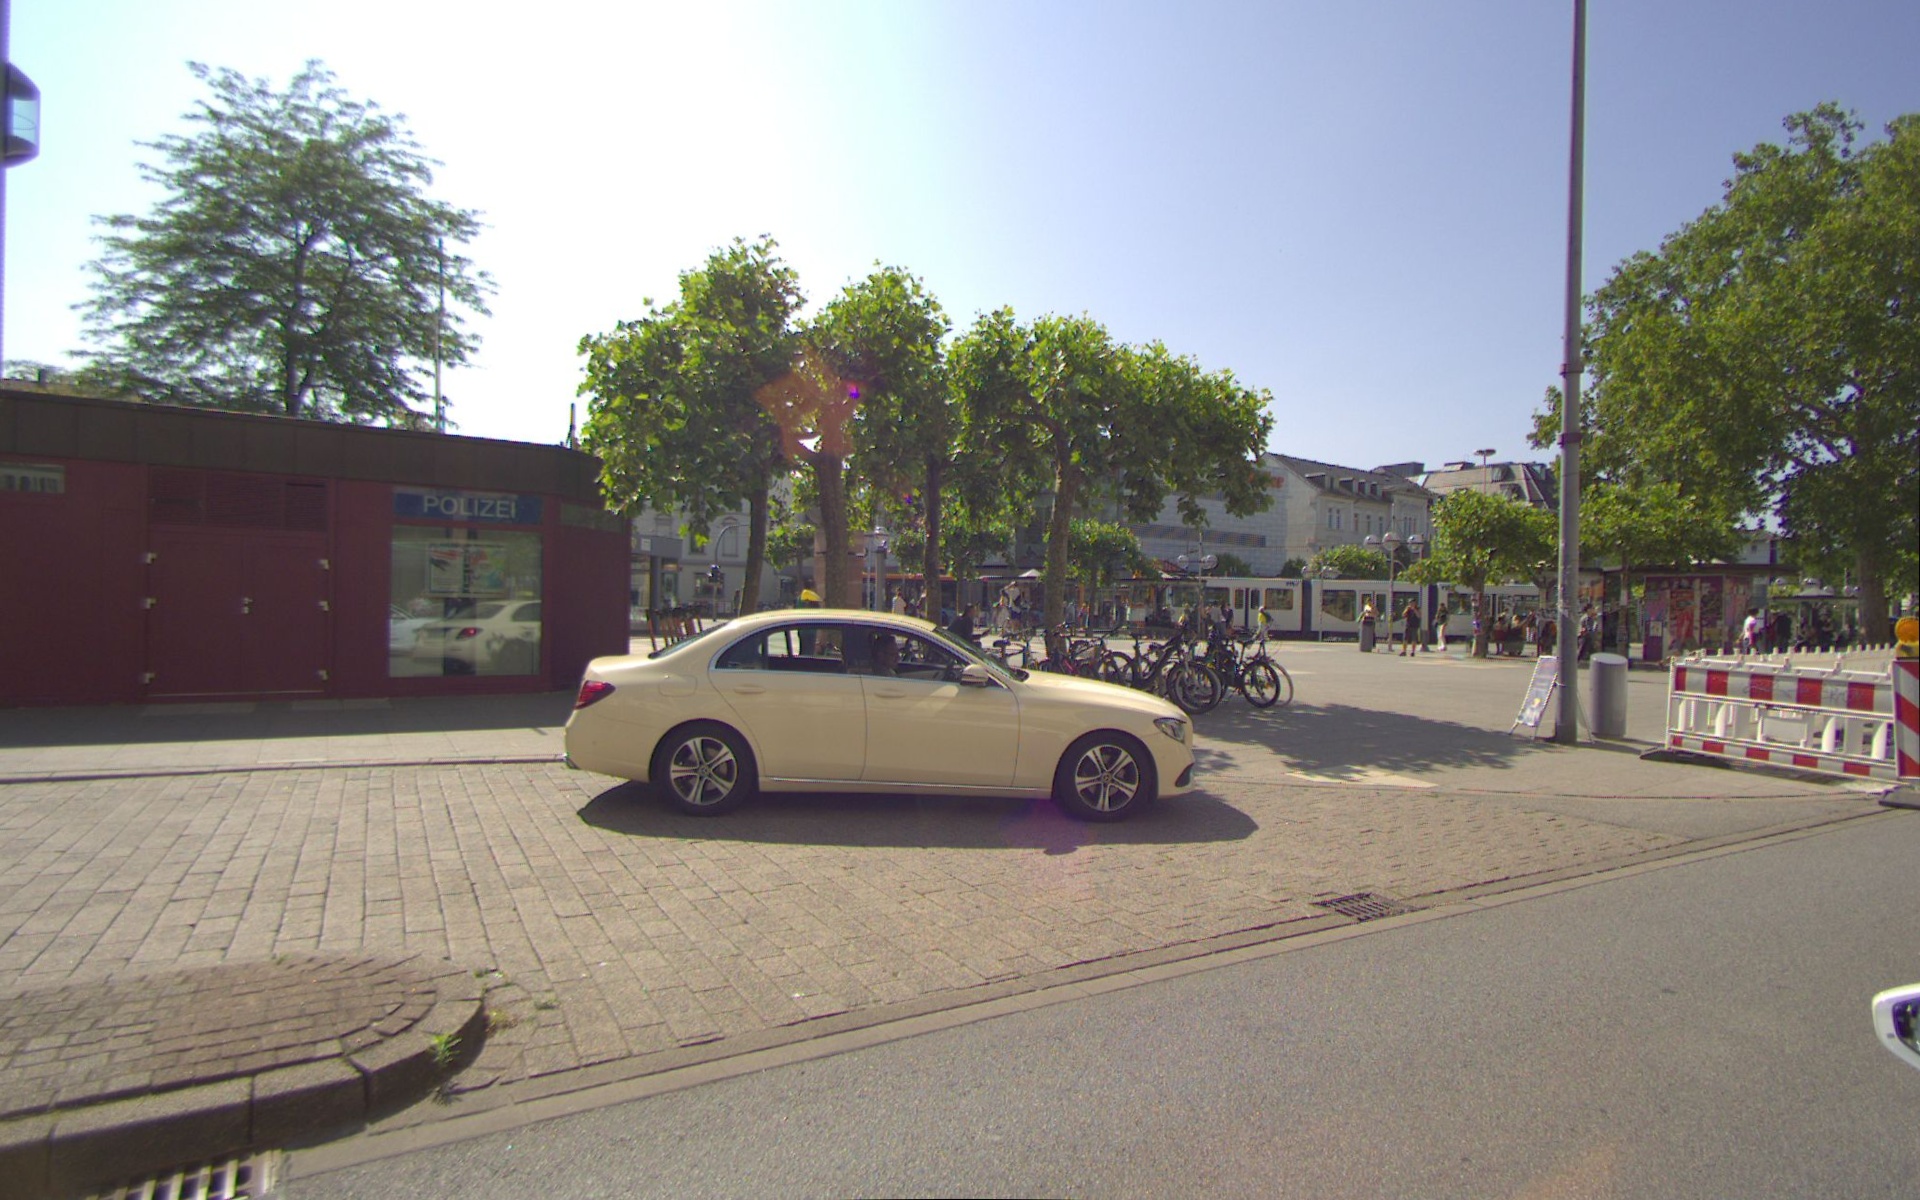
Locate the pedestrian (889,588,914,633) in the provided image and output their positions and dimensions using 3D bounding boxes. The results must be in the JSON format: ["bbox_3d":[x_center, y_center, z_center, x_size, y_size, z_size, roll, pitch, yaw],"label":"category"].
[{"bbox_3d":[-2.285,0.411,38.931,0.600,1.688,0.796,1,1,-35],"label":"pedestrian"}]

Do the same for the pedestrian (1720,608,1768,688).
[{"bbox_3d":[17.678,1.075,22.657,0.598,1.762,0.574,1,1,-24],"label":"pedestrian"}]

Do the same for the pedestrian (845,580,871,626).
[{"bbox_3d":[-3.708,0.115,36.490,0.600,1.643,0.796,1,1,-35],"label":"pedestrian"}]

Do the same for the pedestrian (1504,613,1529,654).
[{"bbox_3d":[17.703,1.063,31.938,0.602,1.279,0.610,1,0,38],"label":"pedestrian"}]

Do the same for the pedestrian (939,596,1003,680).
[{"bbox_3d":[0.188,0.646,17.228,0.884,1.400,0.670,1,1,-21],"label":"pedestrian"}]

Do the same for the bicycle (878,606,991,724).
[{"bbox_3d":[-0.351,0.751,12.401,0.556,1.326,1.771,1,1,-32],"label":"bicycle"}]

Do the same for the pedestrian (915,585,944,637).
[{"bbox_3d":[-1.063,0.378,34.899,0.600,1.773,0.796,1,1,-35],"label":"pedestrian"}]

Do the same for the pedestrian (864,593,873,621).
[{"bbox_3d":[-5.730,0.439,62.995,0.435,1.695,0.450,1,0,5],"label":"pedestrian"}]

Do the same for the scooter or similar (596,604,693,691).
[{"bbox_3d":[-4.520,0.685,14.431,1.280,1.230,0.233,1,1,-11],"label":"scooter or similar"}]

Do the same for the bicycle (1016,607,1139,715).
[{"bbox_3d":[1.545,0.772,13.507,0.656,1.326,1.771,1,1,-32],"label":"bicycle"}]

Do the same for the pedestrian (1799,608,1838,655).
[{"bbox_3d":[28.087,1.023,32.887,0.717,1.498,0.633,1,0,-9],"label":"pedestrian"}]

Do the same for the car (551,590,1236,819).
[{"bbox_3d":[-0.470,0.736,7.981,4.767,1.562,1.896,1,1,-3],"label":"car"}]

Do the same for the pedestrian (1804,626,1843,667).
[{"bbox_3d":[28.751,1.536,33.447,0.717,1.310,0.633,1,0,-9],"label":"pedestrian"}]

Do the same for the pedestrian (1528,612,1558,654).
[{"bbox_3d":[18.152,1.008,31.269,0.599,1.279,0.613,1,0,6],"label":"pedestrian"}]

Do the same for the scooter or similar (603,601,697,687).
[{"bbox_3d":[-4.523,0.638,14.692,1.280,1.230,0.233,1,1,-11],"label":"scooter or similar"}]

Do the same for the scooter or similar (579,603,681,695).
[{"bbox_3d":[-4.488,0.671,13.700,1.280,1.230,0.233,1,1,-11],"label":"scooter or similar"}]

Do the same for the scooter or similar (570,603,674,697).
[{"bbox_3d":[-4.513,0.670,13.443,1.280,1.230,0.233,1,1,-11],"label":"scooter or similar"}]

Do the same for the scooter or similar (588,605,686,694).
[{"bbox_3d":[-4.543,0.702,14.177,1.280,1.230,0.233,1,1,-11],"label":"scooter or similar"}]

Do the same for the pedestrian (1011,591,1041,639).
[{"bbox_3d":[2.235,0.506,34.116,0.600,1.582,0.796,1,1,-35],"label":"pedestrian"}]

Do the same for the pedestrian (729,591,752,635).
[{"bbox_3d":[-8.423,0.507,38.469,0.566,1.660,0.603,3,1,41],"label":"pedestrian"}]

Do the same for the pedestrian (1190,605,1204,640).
[{"bbox_3d":[12.058,1.154,51.133,0.594,1.773,0.747,1,0,9],"label":"pedestrian"}]

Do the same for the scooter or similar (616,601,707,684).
[{"bbox_3d":[-4.506,0.643,15.201,1.280,1.230,0.264,1,1,-11],"label":"scooter or similar"}]

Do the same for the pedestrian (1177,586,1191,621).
[{"bbox_3d":[11.306,0.171,50.734,0.594,1.773,0.747,1,0,9],"label":"pedestrian"}]

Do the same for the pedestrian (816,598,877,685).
[{"bbox_3d":[-1.793,0.642,15.896,0.663,1.326,0.683,2,1,43],"label":"pedestrian"}]

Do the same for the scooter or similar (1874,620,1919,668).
[{"bbox_3d":[29.357,1.344,31.036,1.018,1.439,1.281,1,0,1],"label":"scooter or similar"}]

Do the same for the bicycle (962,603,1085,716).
[{"bbox_3d":[0.786,0.723,12.977,0.656,1.326,1.771,1,1,-32],"label":"bicycle"}]

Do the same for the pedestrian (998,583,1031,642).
[{"bbox_3d":[1.700,0.385,31.493,0.600,1.823,0.795,1,1,-36],"label":"pedestrian"}]

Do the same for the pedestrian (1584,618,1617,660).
[{"bbox_3d":[19.850,1.205,31.152,0.599,1.279,0.612,1,0,-4],"label":"pedestrian"}]

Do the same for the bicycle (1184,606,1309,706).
[{"bbox_3d":[4.355,0.817,15.381,0.733,1.366,1.771,1,2,-32],"label":"bicycle"}]

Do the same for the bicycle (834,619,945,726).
[{"bbox_3d":[-0.892,0.833,12.212,0.556,1.147,1.771,1,0,-32],"label":"bicycle"}]

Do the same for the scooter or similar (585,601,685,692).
[{"bbox_3d":[-4.497,0.647,13.938,1.280,1.230,0.233,1,1,-11],"label":"scooter or similar"}]

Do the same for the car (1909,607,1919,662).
[{"bbox_3d":[36.659,1.291,35.643,4.674,1.981,1.862,2,0,-9],"label":"car"}]

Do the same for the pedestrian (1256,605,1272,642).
[{"bbox_3d":[14.687,1.111,48.548,0.594,1.773,0.747,1,0,9],"label":"pedestrian"}]

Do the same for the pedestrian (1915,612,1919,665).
[{"bbox_3d":[29.068,1.158,29.889,0.653,1.586,0.633,1,0,-9],"label":"pedestrian"}]

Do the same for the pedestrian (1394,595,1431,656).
[{"bbox_3d":[13.627,0.767,30.263,0.788,1.773,0.606,2,1,2],"label":"pedestrian"}]

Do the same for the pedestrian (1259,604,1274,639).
[{"bbox_3d":[15.842,1.108,51.909,0.594,1.773,0.804,1,0,9],"label":"pedestrian"}]

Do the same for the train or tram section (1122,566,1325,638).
[{"bbox_3d":[14.690,0.086,56.732,10.779,3.726,2.623,1,0,5],"label":"train or tram section"}]

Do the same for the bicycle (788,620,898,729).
[{"bbox_3d":[-1.403,0.823,11.731,0.556,1.120,1.771,1,0,-32],"label":"bicycle"}]

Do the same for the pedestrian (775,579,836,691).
[{"bbox_3d":[-2.414,0.533,15.669,0.681,1.700,0.666,1,1,-38],"label":"pedestrian"}]

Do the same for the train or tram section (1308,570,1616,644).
[{"bbox_3d":[27.465,0.355,55.563,15.233,3.726,2.623,1,0,5],"label":"train or tram section"}]

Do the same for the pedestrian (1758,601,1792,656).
[{"bbox_3d":[27.712,0.979,34.152,0.604,1.833,0.634,1,-3,-10],"label":"pedestrian"}]

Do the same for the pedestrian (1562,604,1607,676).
[{"bbox_3d":[13.883,0.883,22.338,0.598,1.553,0.574,1,1,-24],"label":"pedestrian"}]

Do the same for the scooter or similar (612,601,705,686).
[{"bbox_3d":[-4.478,0.644,14.945,1.280,1.230,0.233,1,1,-11],"label":"scooter or similar"}]

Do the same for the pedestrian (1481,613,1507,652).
[{"bbox_3d":[17.736,1.066,33.364,0.600,1.279,0.611,1,0,16],"label":"pedestrian"}]

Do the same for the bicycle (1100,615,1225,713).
[{"bbox_3d":[2.801,0.854,14.069,0.656,1.231,1.771,1,0,-32],"label":"bicycle"}]

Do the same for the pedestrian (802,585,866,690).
[{"bbox_3d":[-2.033,0.590,16.241,0.668,1.627,0.795,1,1,-43],"label":"pedestrian"}]

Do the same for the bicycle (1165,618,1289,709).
[{"bbox_3d":[3.885,0.894,14.754,0.656,1.201,1.771,1,0,-32],"label":"bicycle"}]

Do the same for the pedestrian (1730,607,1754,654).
[{"bbox_3d":[27.906,1.089,35.842,0.489,1.624,0.500,1,-2,-10],"label":"pedestrian"}]

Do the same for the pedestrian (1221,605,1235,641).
[{"bbox_3d":[13.634,1.159,51.062,0.594,1.773,0.747,1,0,9],"label":"pedestrian"}]

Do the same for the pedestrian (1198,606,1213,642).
[{"bbox_3d":[12.193,1.193,49.889,0.594,1.773,0.747,1,0,9],"label":"pedestrian"}]

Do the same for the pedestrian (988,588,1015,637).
[{"bbox_3d":[1.529,0.454,37.094,0.600,1.773,0.796,1,1,-35],"label":"pedestrian"}]

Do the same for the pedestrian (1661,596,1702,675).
[{"bbox_3d":[17.906,0.867,24.934,0.651,1.905,0.631,3,1,26],"label":"pedestrian"}]

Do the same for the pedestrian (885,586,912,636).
[{"bbox_3d":[-2.220,0.402,36.181,0.600,1.773,0.796,1,1,-35],"label":"pedestrian"}]
